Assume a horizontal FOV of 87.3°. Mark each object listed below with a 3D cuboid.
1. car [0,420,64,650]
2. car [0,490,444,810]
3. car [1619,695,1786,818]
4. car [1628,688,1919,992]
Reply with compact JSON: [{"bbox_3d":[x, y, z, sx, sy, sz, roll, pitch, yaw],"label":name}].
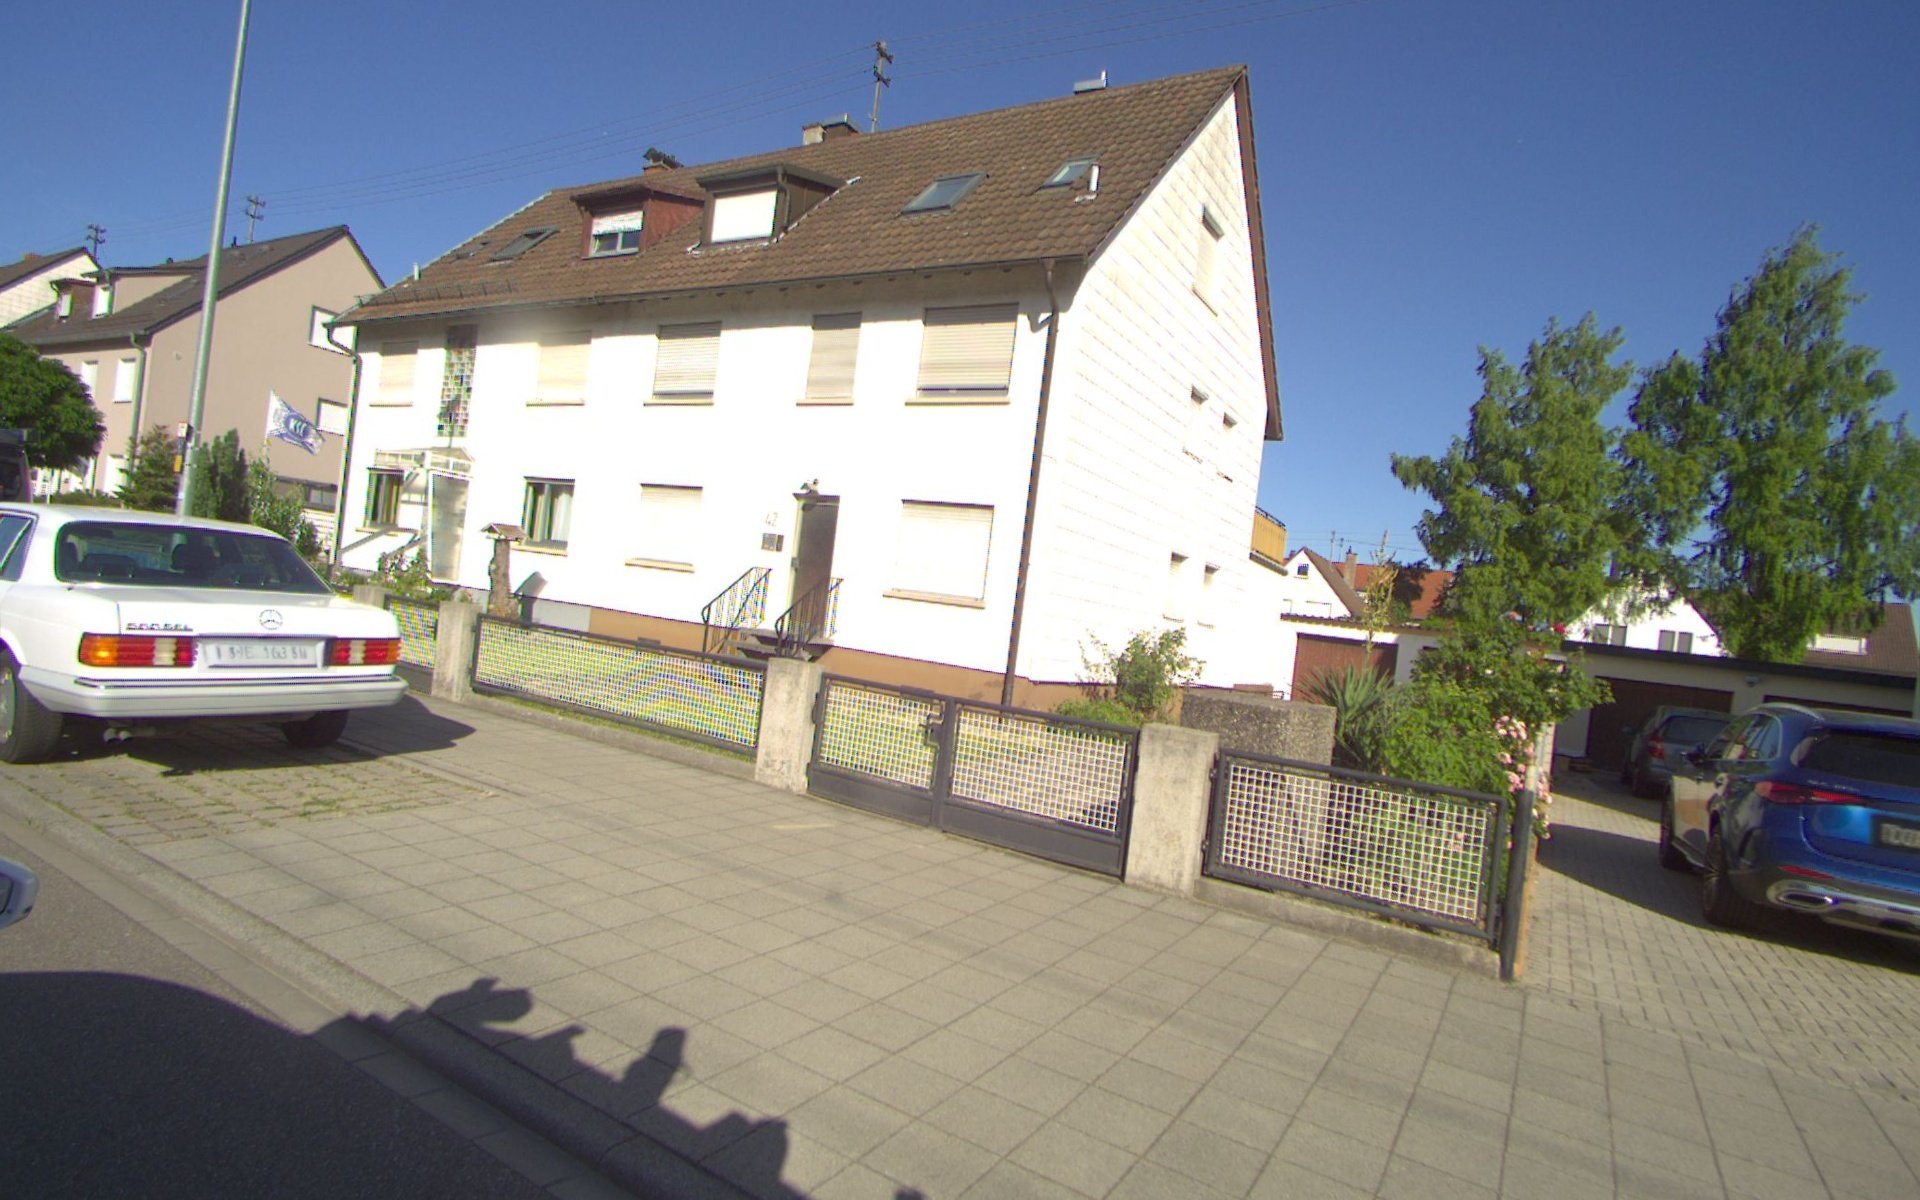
[{"bbox_3d":[-11.614,-0.902,10.431,5.247,2.171,1.961,7,1,32],"label":"car"},{"bbox_3d":[-6.133,0.054,7.136,5.522,1.462,1.853,7,1,33],"label":"car"},{"bbox_3d":[12.844,2.611,17.637,1.783,1.638,3.819,7,-1,30],"label":"car"},{"bbox_3d":[6.883,1.692,7.894,2.159,1.674,4.425,7,-2,28],"label":"car"}]
